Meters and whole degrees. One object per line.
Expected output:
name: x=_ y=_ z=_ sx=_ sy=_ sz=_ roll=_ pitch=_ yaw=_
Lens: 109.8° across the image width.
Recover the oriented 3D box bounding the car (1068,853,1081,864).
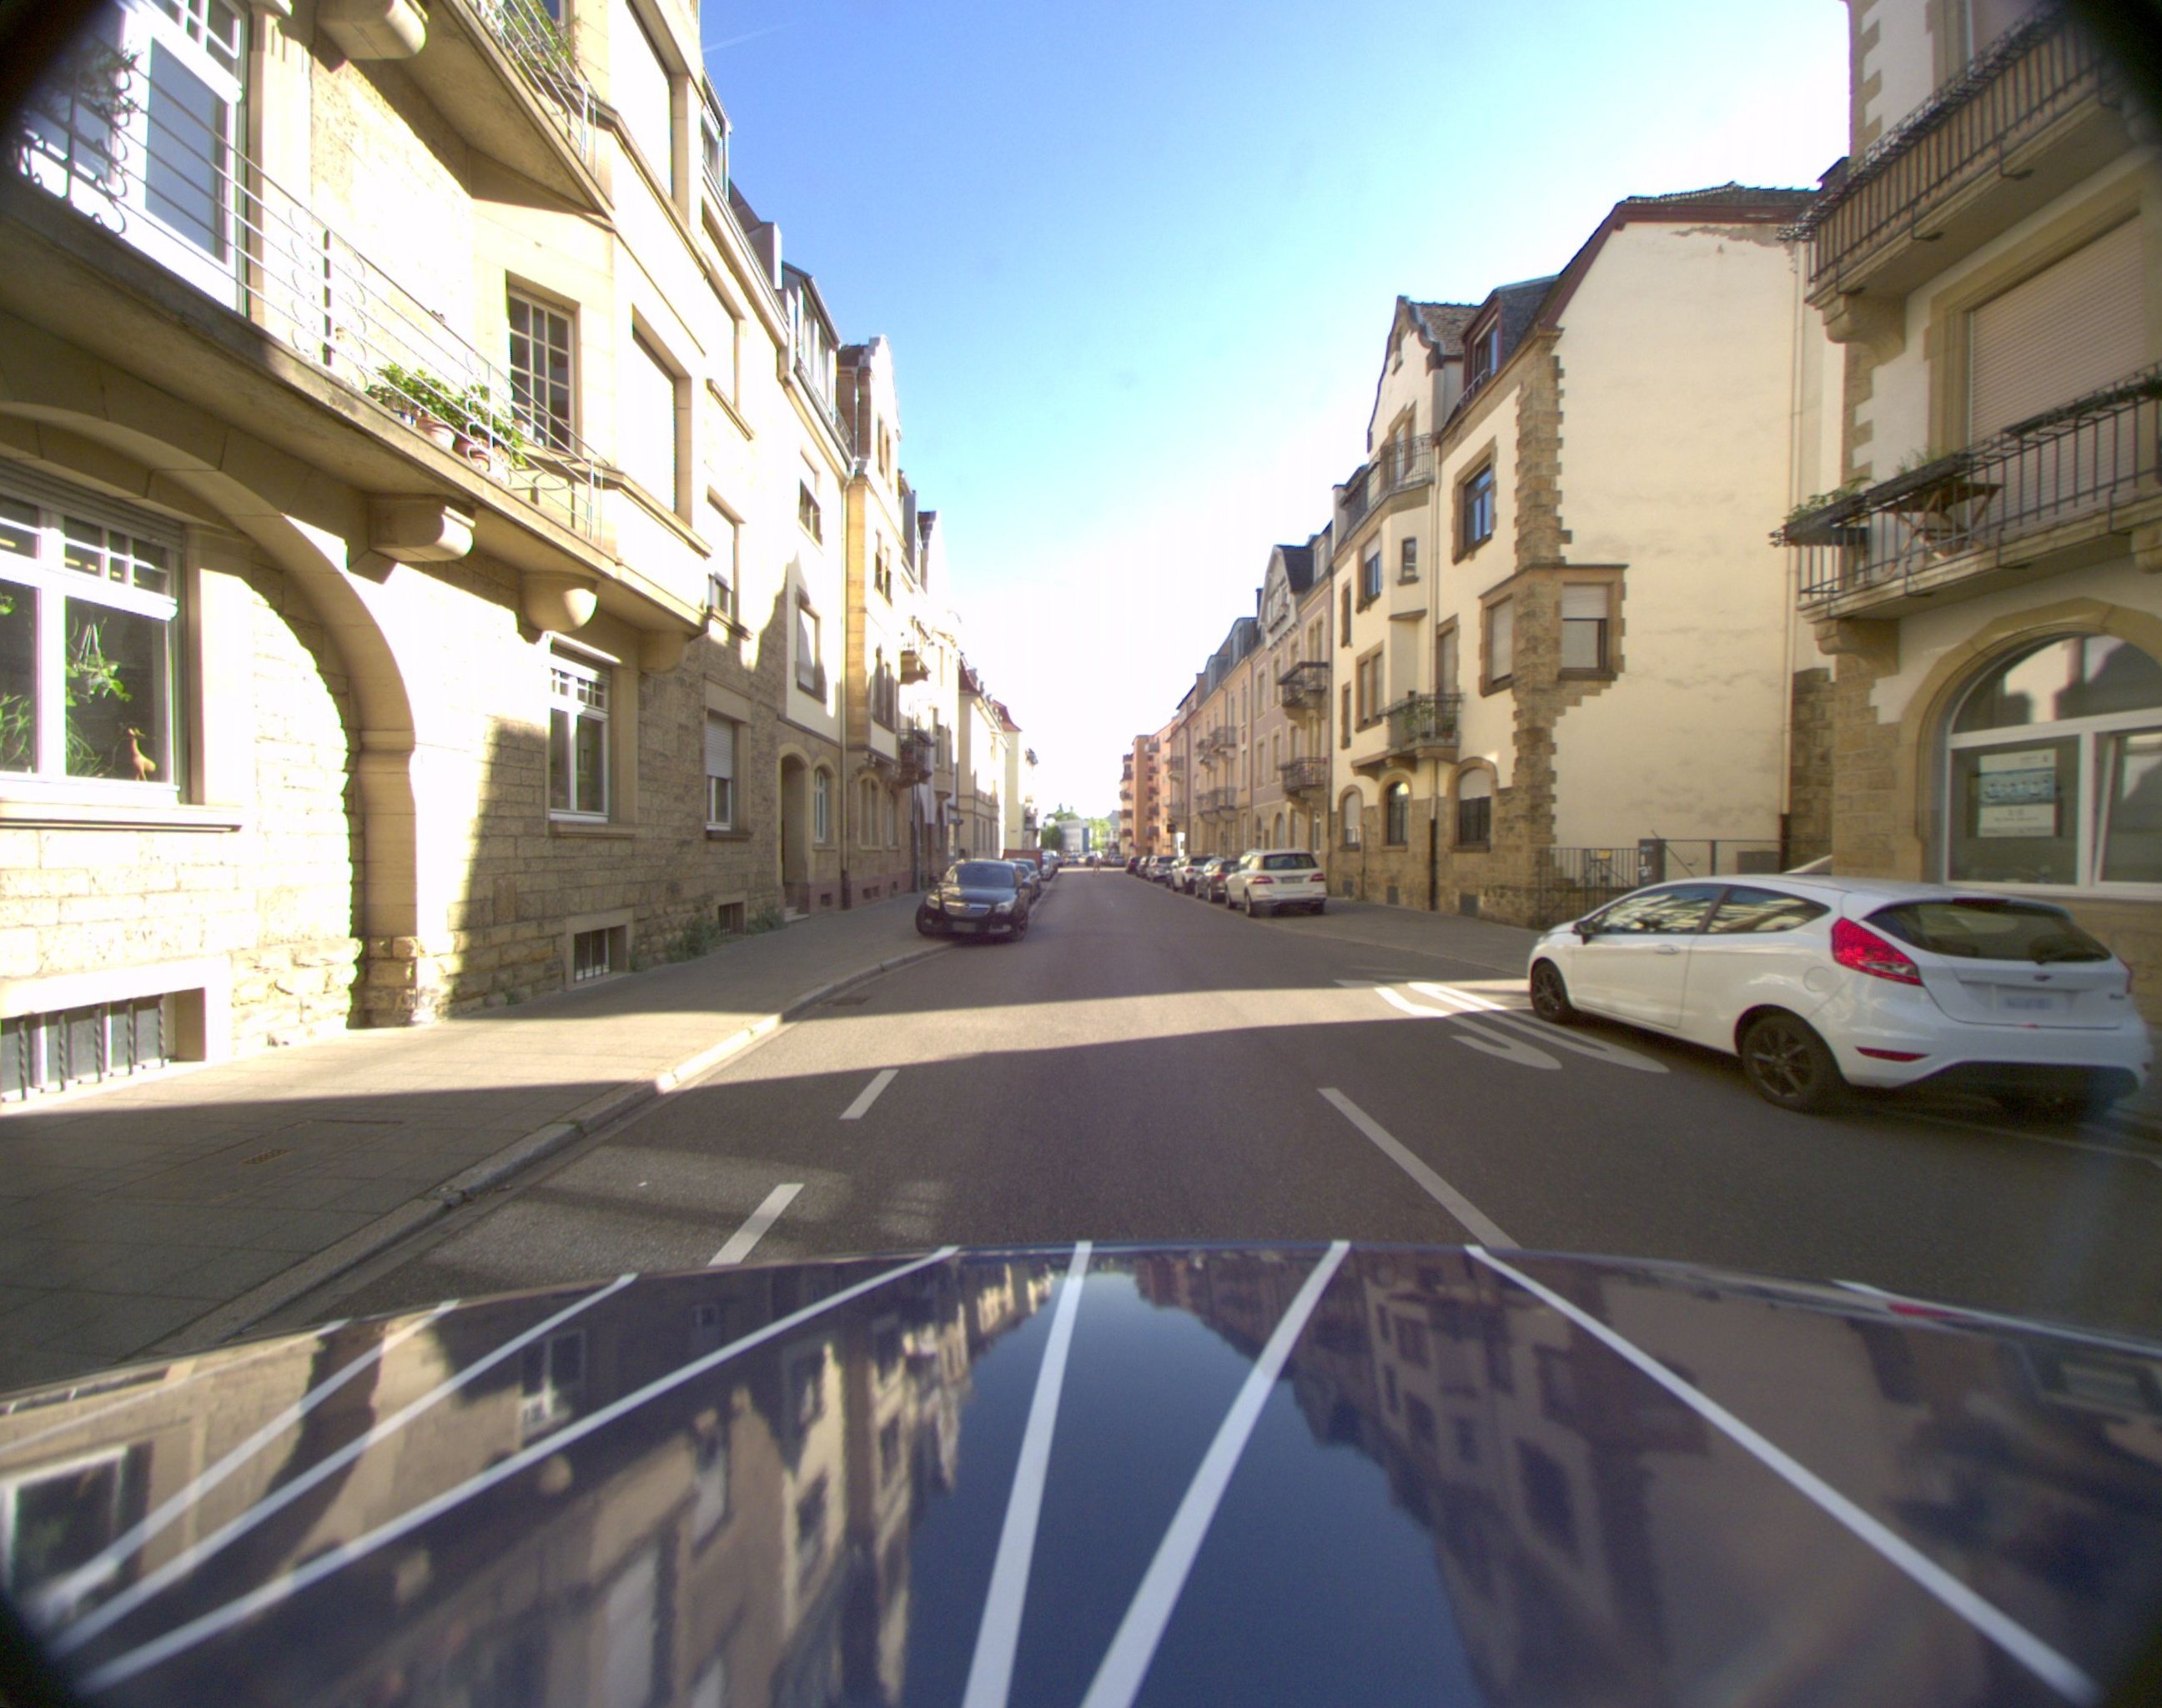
car: x=-0.988 y=0.653 z=113.771 sx=2.005 sy=1.500 sz=4.320 roll=1 pitch=1 yaw=-1

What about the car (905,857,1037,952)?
car: x=-2.030 y=0.880 z=15.207 sx=2.024 sy=1.500 sz=4.111 roll=2 pitch=1 yaw=-1

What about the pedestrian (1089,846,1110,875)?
pedestrian: x=1.334 y=0.487 z=54.186 sx=1.068 sy=2.002 sz=0.950 roll=-3 pitch=1 yaw=-36

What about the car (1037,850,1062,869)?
car: x=-2.660 y=0.447 z=64.494 sx=2.005 sy=1.500 sz=4.320 roll=1 pitch=1 yaw=-1

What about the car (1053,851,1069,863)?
car: x=-2.568 y=0.424 z=99.948 sx=2.005 sy=1.500 sz=4.320 roll=1 pitch=1 yaw=-1

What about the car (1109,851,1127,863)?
car: x=4.638 y=0.384 z=96.200 sx=2.005 sy=1.500 sz=4.320 roll=1 pitch=1 yaw=-1

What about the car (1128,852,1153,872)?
car: x=4.904 y=0.635 z=62.967 sx=1.793 sy=1.500 sz=4.320 roll=-2 pitch=1 yaw=1

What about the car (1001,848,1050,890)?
car: x=-2.550 y=0.647 z=35.805 sx=2.005 sy=1.828 sz=4.320 roll=1 pitch=1 yaw=-1

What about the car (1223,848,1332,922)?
car: x=5.203 y=0.748 z=20.690 sx=1.890 sy=1.717 sz=4.211 roll=-2 pitch=1 yaw=1

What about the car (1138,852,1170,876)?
car: x=5.002 y=0.663 z=52.335 sx=1.809 sy=1.500 sz=4.003 roll=-2 pitch=1 yaw=1

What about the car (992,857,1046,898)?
car: x=-2.376 y=0.888 z=30.115 sx=1.824 sy=1.415 sz=4.320 roll=1 pitch=1 yaw=-1

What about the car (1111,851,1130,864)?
car: x=4.687 y=0.401 z=91.386 sx=2.005 sy=1.500 sz=4.320 roll=1 pitch=1 yaw=-1

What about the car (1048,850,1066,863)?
car: x=-2.830 y=0.260 z=88.974 sx=2.005 sy=1.500 sz=4.320 roll=1 pitch=1 yaw=-1

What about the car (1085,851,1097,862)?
car: x=1.373 y=0.347 z=110.109 sx=1.656 sy=1.449 sz=3.642 roll=0 pitch=1 yaw=-1

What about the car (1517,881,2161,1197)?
car: x=5.118 y=1.012 z=5.686 sx=1.656 sy=1.449 sz=3.643 roll=2 pitch=0 yaw=2

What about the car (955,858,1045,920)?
car: x=-2.089 y=0.871 z=20.794 sx=2.005 sy=1.499 sz=4.321 roll=1 pitch=0 yaw=-1

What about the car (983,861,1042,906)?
car: x=-2.225 y=0.924 z=25.373 sx=1.661 sy=1.272 sz=3.729 roll=1 pitch=1 yaw=-1

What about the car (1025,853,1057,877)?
car: x=-2.737 y=0.733 z=52.636 sx=2.005 sy=1.500 sz=4.320 roll=1 pitch=1 yaw=-1

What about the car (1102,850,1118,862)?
car: x=4.128 y=0.279 z=107.246 sx=2.005 sy=1.500 sz=4.320 roll=1 pitch=1 yaw=-1

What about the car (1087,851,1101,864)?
car: x=1.561 y=0.407 z=93.357 sx=1.656 sy=1.449 sz=3.642 roll=0 pitch=1 yaw=-1

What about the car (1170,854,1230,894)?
car: x=4.993 y=0.791 z=32.360 sx=1.890 sy=1.500 sz=4.320 roll=-2 pitch=1 yaw=1

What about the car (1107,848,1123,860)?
car: x=4.533 y=-0.005 z=101.952 sx=2.005 sy=1.500 sz=4.320 roll=1 pitch=1 yaw=-1

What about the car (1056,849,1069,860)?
car: x=-2.924 y=0.060 z=123.331 sx=2.005 sy=1.722 sz=4.320 roll=1 pitch=1 yaw=-1

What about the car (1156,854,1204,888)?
car: x=4.865 y=0.813 z=37.800 sx=1.857 sy=1.491 sz=4.318 roll=-2 pitch=1 yaw=1

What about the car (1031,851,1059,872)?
car: x=-2.733 y=0.531 z=58.661 sx=2.005 sy=1.500 sz=4.320 roll=1 pitch=1 yaw=-1

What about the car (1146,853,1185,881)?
car: x=5.031 y=0.729 z=45.826 sx=1.890 sy=1.500 sz=4.320 roll=-2 pitch=1 yaw=1

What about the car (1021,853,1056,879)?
car: x=-2.642 y=0.713 z=47.862 sx=2.005 sy=1.500 sz=4.320 roll=1 pitch=1 yaw=-1

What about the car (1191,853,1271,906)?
car: x=5.131 y=0.817 z=26.539 sx=1.890 sy=1.500 sz=4.320 roll=-4 pitch=1 yaw=1
